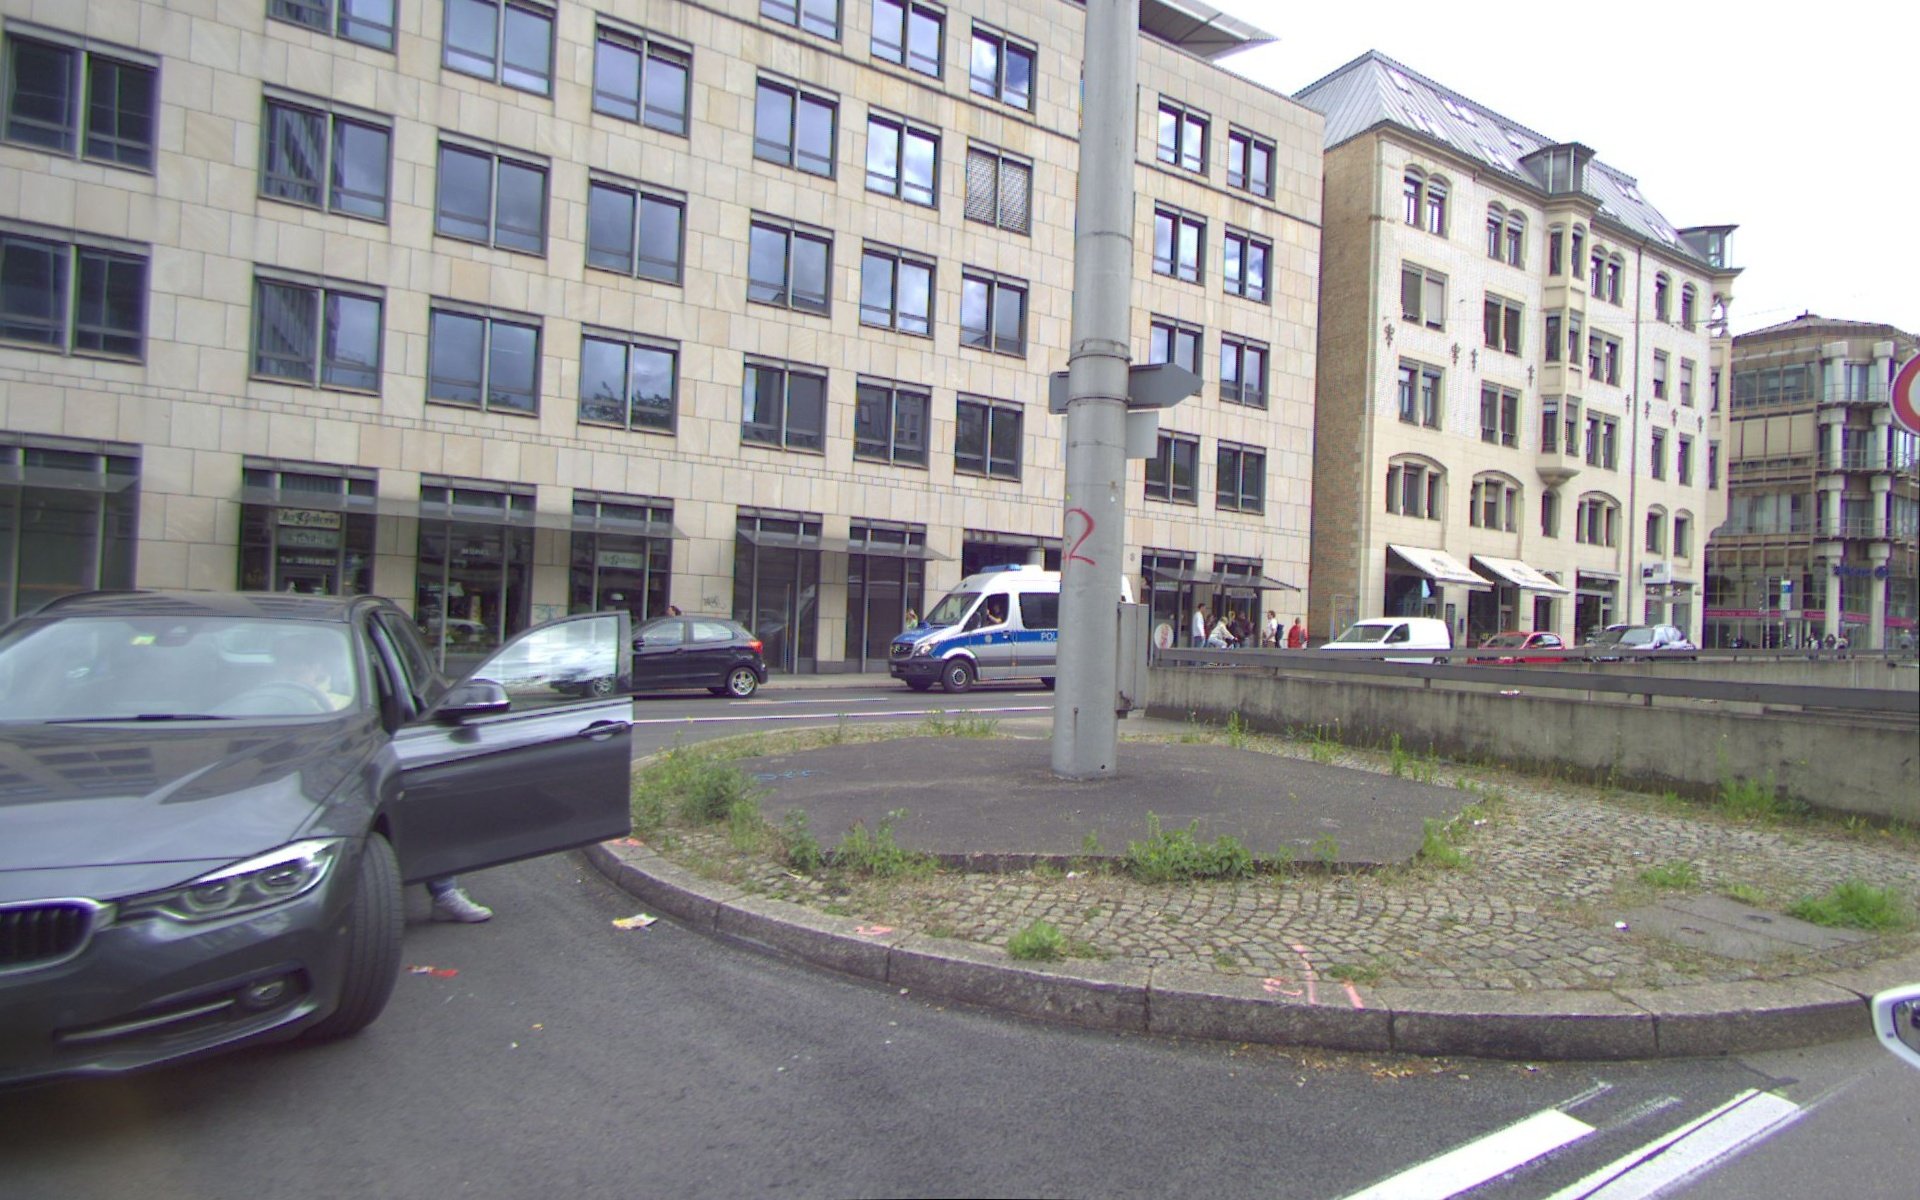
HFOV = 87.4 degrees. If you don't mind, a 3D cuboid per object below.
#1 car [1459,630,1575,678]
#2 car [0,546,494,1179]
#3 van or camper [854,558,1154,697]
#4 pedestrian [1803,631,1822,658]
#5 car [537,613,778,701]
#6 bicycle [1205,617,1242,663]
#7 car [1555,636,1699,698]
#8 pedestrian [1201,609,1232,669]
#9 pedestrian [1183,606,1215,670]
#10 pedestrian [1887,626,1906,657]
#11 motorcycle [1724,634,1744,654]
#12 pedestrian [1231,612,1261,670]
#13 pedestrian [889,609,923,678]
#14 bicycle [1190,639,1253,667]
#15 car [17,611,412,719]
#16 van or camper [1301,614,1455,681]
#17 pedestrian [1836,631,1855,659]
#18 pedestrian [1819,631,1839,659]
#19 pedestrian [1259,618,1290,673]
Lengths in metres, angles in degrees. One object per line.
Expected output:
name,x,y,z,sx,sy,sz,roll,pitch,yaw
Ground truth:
car,17.848,1.687,32.173,3.543,1.424,1.778,1,-1,-32
car,-3.236,0.623,4.394,1.854,1.478,4.542,1,-1,-21
van or camper,1.041,0.621,22.751,6.172,2.762,2.988,1,-1,-30
pedestrian,49.765,2.603,58.625,0.839,1.564,0.695,1,-1,-38
car,-5.560,1.031,18.572,3.983,1.467,1.761,2,-3,-30
bicycle,7.528,1.144,28.729,0.836,1.277,0.628,1,-1,-34
car,18.650,1.803,28.029,4.498,1.547,1.905,2,-1,-36
pedestrian,7.569,1.141,29.630,0.672,1.740,0.552,1,0,-30
pedestrian,7.218,1.148,30.346,0.672,1.899,0.613,2,-1,-31
pedestrian,56.460,2.488,60.544,0.686,1.817,0.530,2,3,-29
motorcycle,51.669,2.930,67.042,1.925,1.274,0.784,1,0,-43
pedestrian,8.905,1.261,31.270,0.672,1.777,0.549,2,-1,-31
pedestrian,-1.306,1.048,24.261,0.620,1.646,0.497,1,0,-30
bicycle,7.479,1.498,28.699,1.938,0.772,0.628,2,-1,-34
car,-10.875,0.923,15.181,4.518,1.414,1.985,2,-1,-29
van or camper,12.049,1.343,28.886,4.436,1.775,1.858,1,-1,-32
pedestrian,50.666,2.588,57.472,0.839,1.564,0.695,1,-1,-38
pedestrian,50.207,2.593,58.032,0.839,1.564,0.695,1,-1,-38
pedestrian,9.408,1.353,30.036,0.672,1.598,0.549,2,-1,-31
